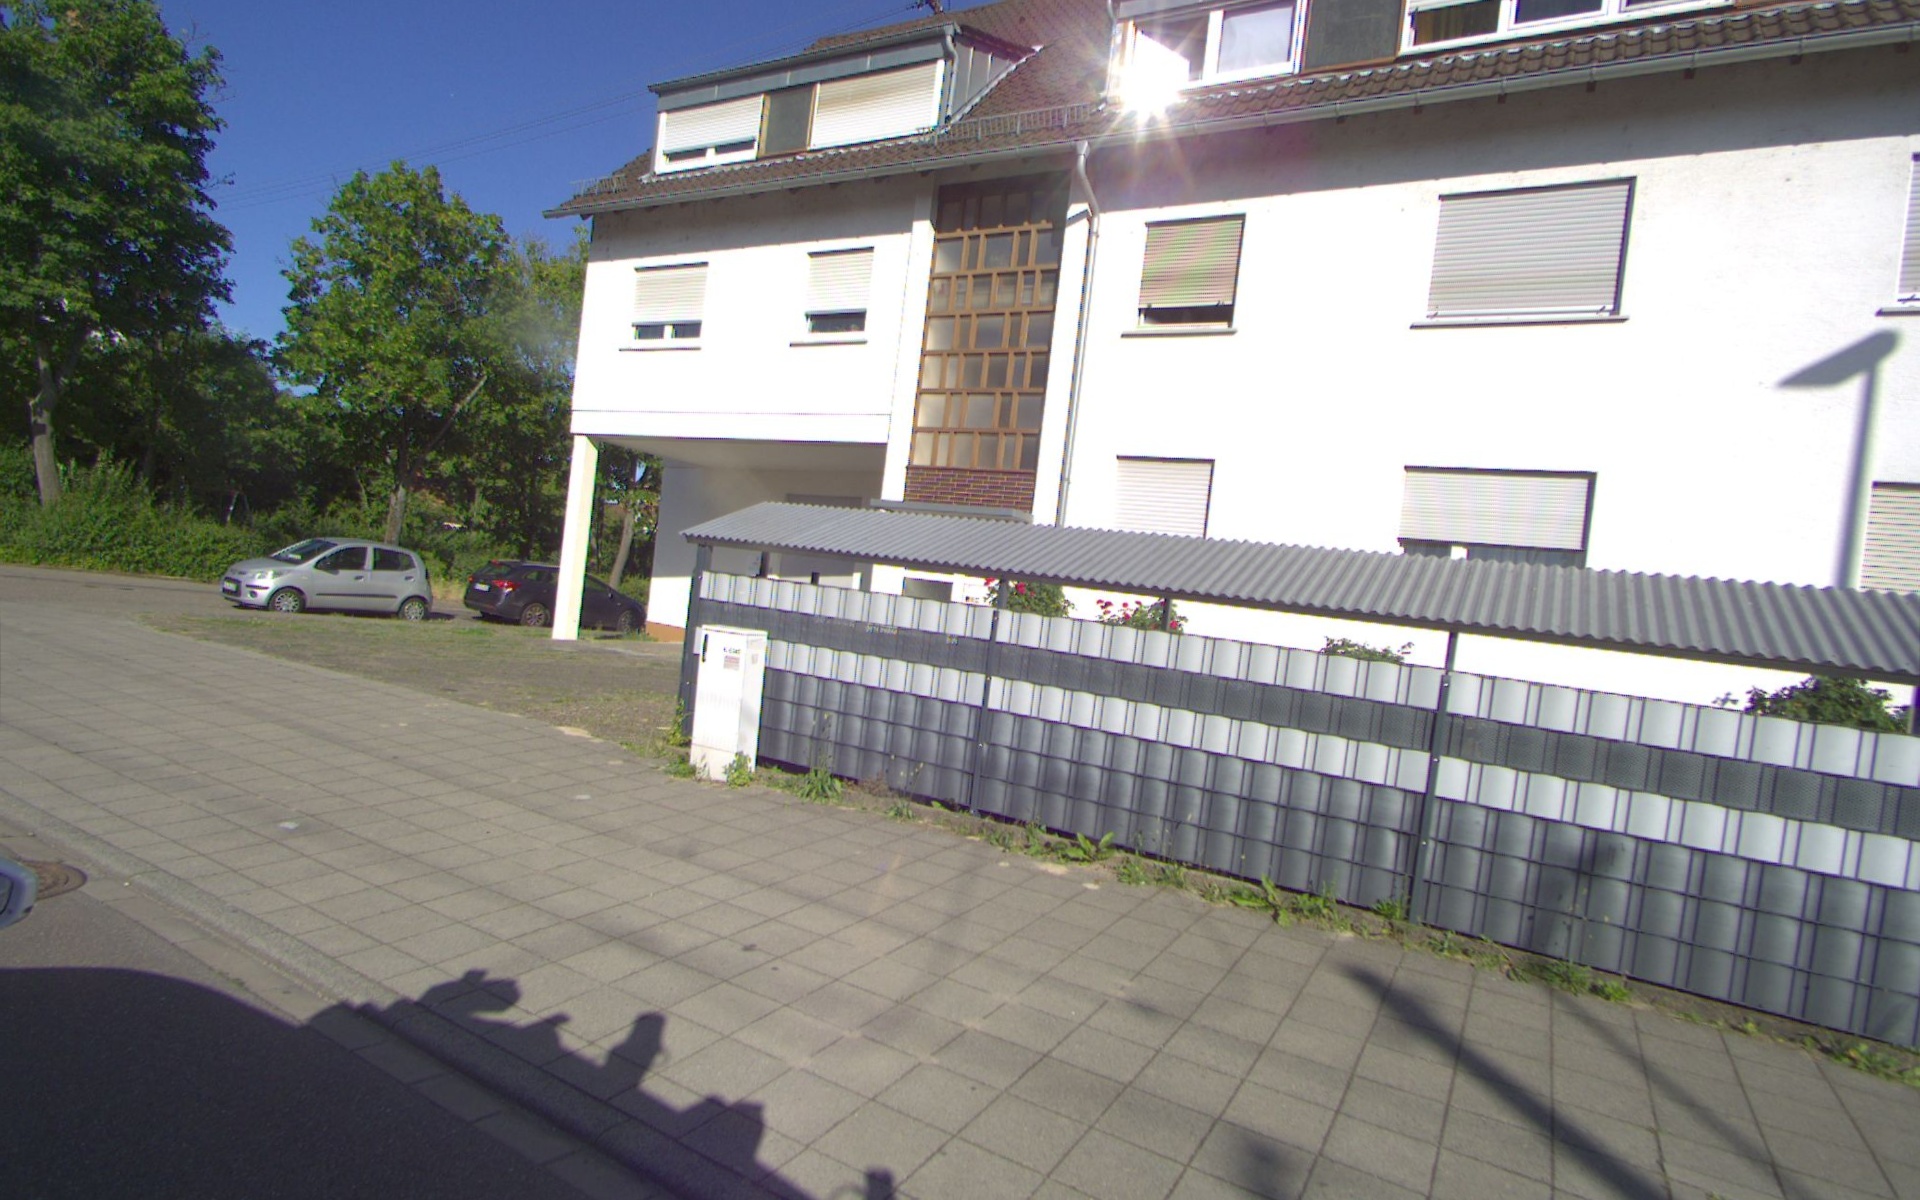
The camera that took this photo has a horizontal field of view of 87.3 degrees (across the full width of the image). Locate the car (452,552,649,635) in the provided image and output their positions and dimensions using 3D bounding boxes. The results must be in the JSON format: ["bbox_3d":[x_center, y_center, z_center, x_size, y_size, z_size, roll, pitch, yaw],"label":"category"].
[{"bbox_3d":[-9.649,-0.098,23.983,1.715,1.515,4.007,7,-1,31],"label":"car"}]

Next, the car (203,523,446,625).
[{"bbox_3d":[-12.328,-0.461,19.719,1.620,1.549,3.599,6,-1,32],"label":"car"}]

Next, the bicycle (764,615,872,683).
[{"bbox_3d":[-2.204,0.764,15.683,1.526,0.882,0.488,8,-1,-28],"label":"bicycle"}]
